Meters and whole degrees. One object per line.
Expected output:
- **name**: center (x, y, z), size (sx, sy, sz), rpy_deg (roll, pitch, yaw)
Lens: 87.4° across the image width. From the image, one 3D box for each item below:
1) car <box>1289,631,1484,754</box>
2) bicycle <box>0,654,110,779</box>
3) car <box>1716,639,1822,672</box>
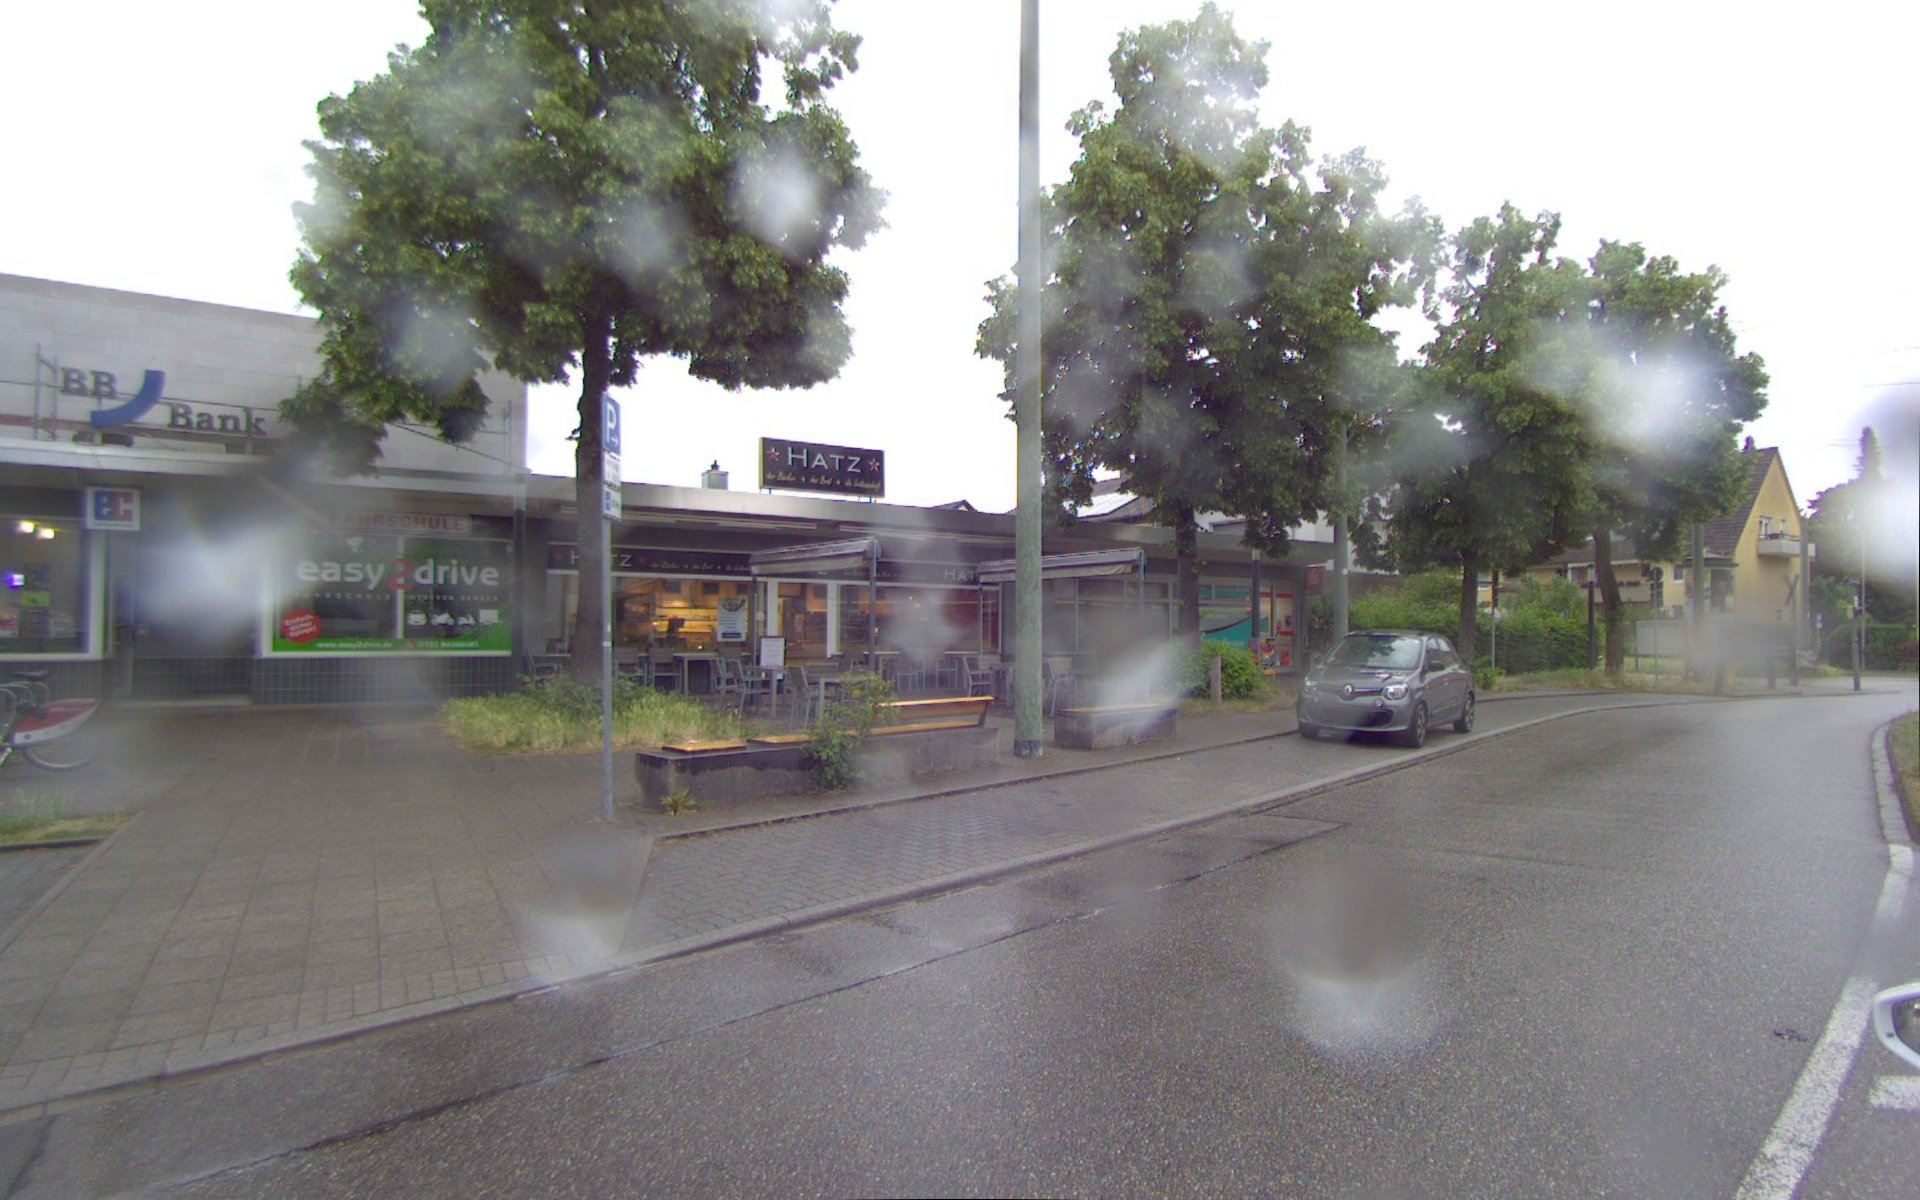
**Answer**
- **car**: center (6.382, 1.252, 14.832), size (1.598, 1.516, 3.649), rpy_deg (2, 0, 40)
- **bicycle**: center (-9.003, 1.081, 9.255), size (0.314, 1.122, 1.739), rpy_deg (2, 0, 43)
- **car**: center (41.969, 2.864, 52.185), size (1.815, 1.476, 3.960), rpy_deg (2, 0, -35)
